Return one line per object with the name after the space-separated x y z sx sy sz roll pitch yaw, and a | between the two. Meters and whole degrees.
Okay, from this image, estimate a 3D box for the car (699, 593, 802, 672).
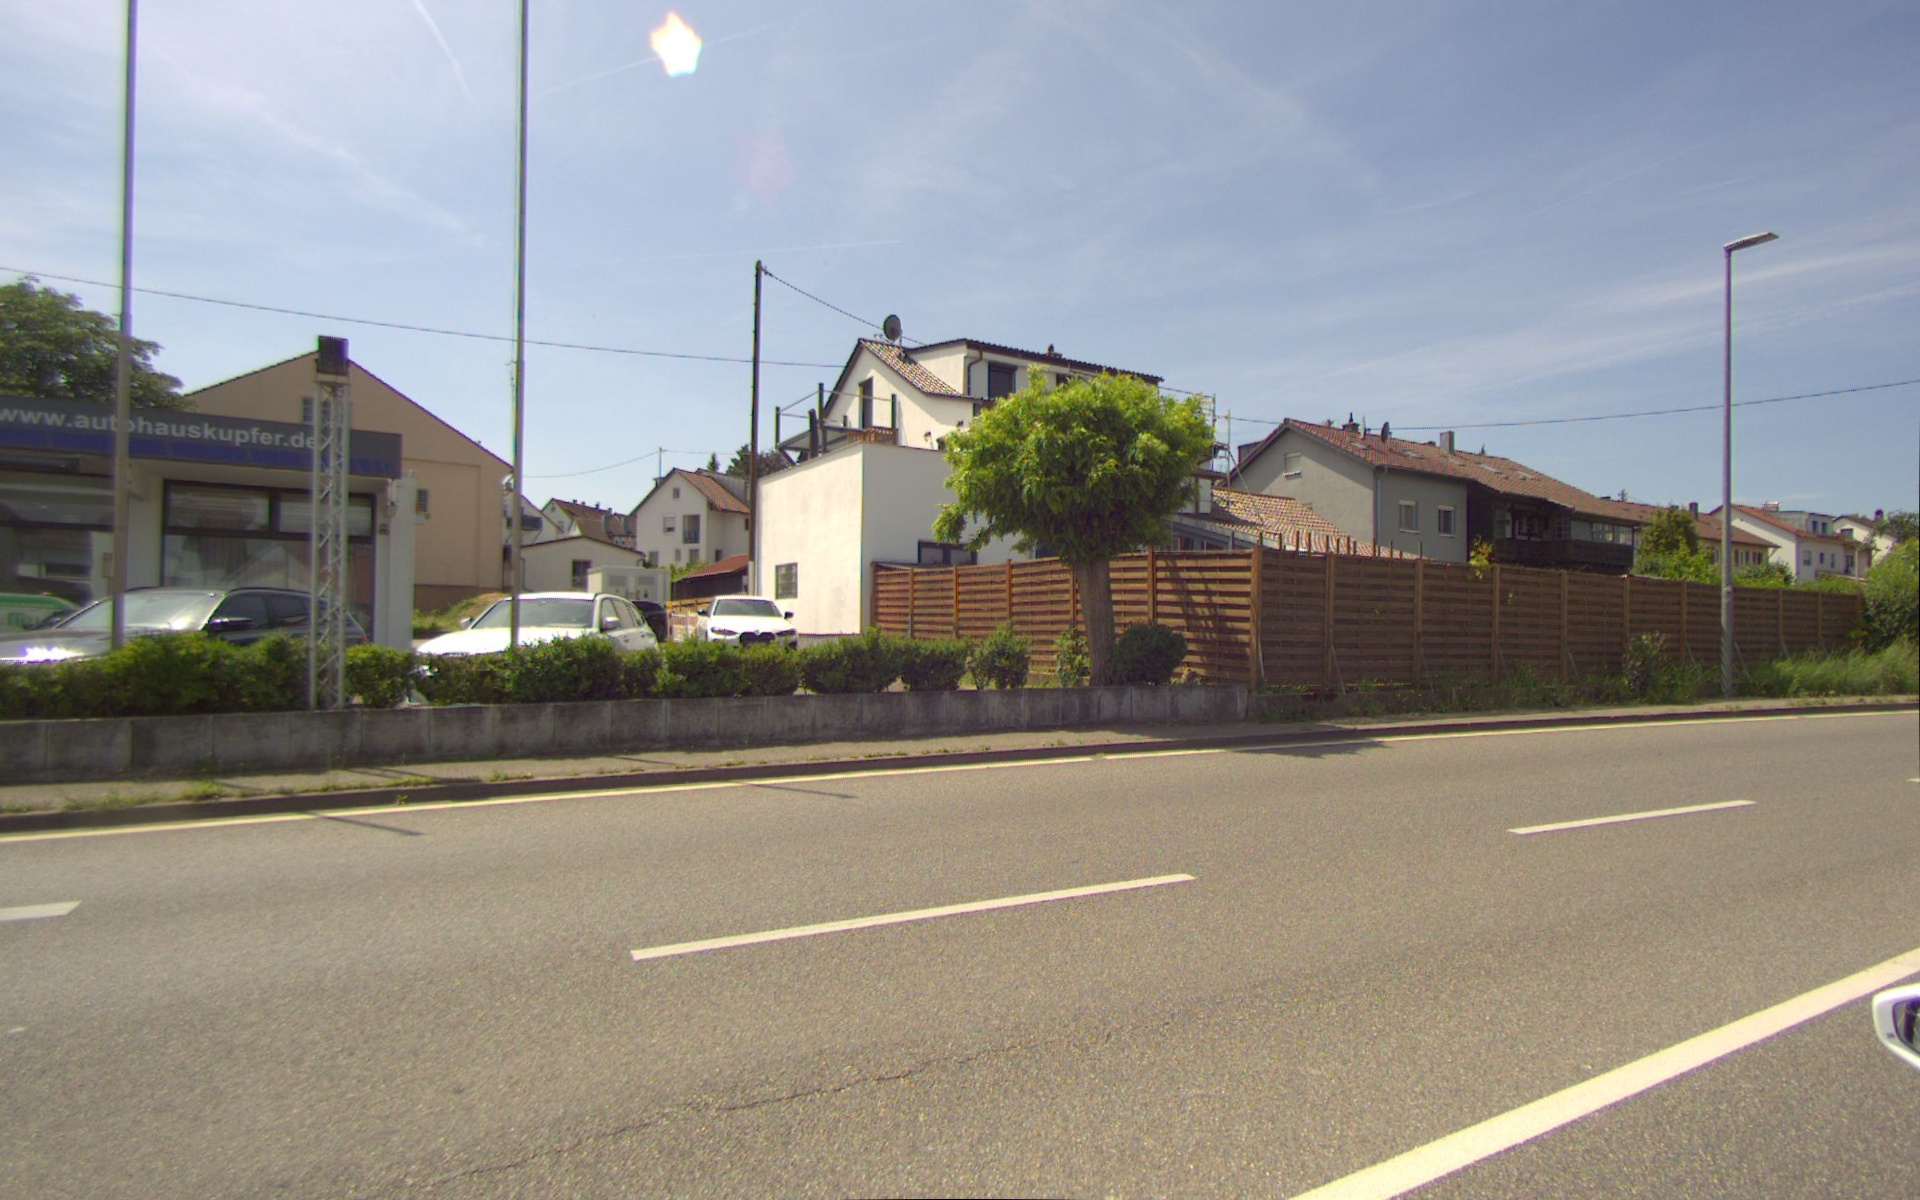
-4.571 0.630 21.516 1.805 1.530 3.985 1 0 -17 | car

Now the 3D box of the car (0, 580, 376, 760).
-8.195 0.582 10.530 1.863 1.467 4.339 2 0 -5 | car

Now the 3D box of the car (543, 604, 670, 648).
-11.511 0.804 32.966 1.756 1.238 3.999 2 1 21 | car

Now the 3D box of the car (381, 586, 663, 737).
-5.035 0.628 12.266 1.822 1.467 4.339 2 0 -5 | car
